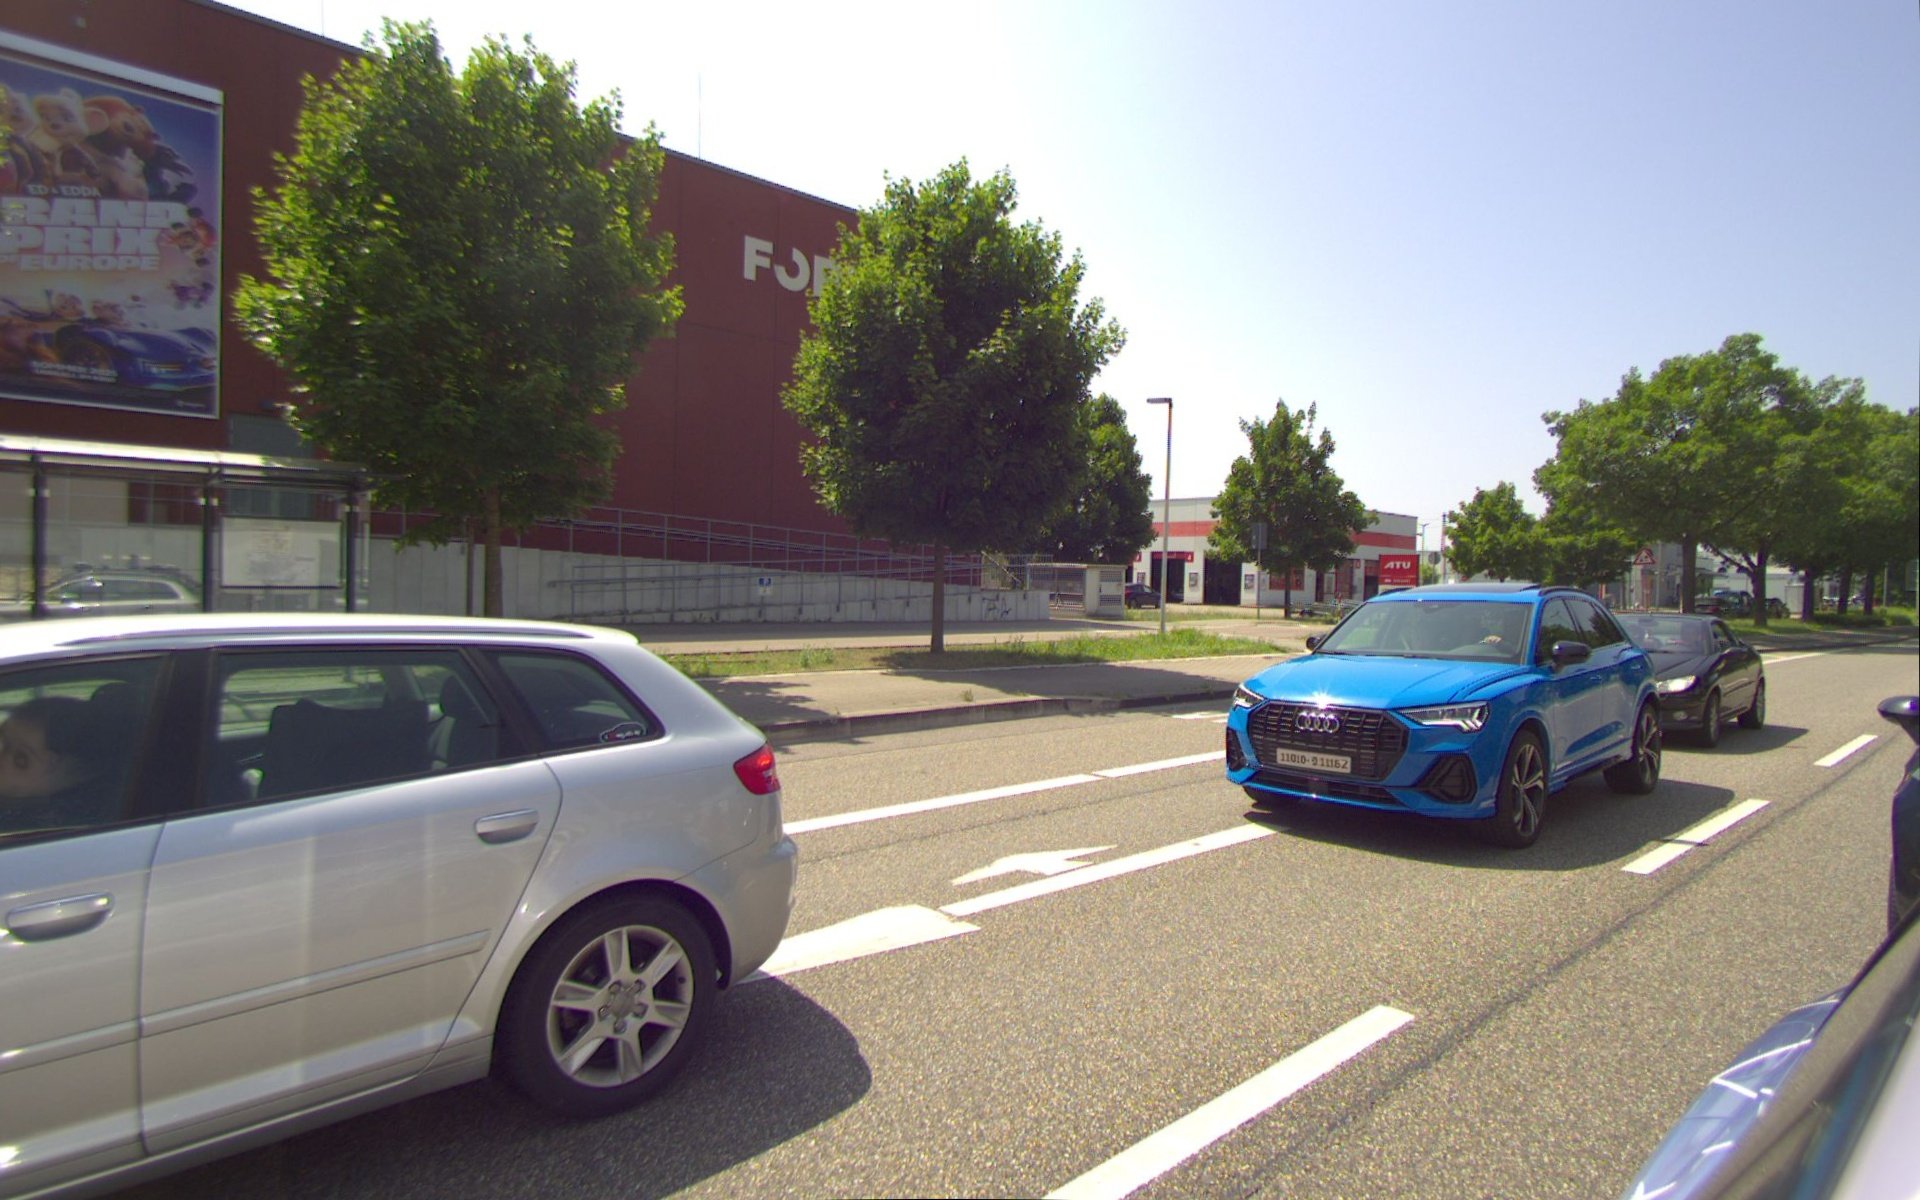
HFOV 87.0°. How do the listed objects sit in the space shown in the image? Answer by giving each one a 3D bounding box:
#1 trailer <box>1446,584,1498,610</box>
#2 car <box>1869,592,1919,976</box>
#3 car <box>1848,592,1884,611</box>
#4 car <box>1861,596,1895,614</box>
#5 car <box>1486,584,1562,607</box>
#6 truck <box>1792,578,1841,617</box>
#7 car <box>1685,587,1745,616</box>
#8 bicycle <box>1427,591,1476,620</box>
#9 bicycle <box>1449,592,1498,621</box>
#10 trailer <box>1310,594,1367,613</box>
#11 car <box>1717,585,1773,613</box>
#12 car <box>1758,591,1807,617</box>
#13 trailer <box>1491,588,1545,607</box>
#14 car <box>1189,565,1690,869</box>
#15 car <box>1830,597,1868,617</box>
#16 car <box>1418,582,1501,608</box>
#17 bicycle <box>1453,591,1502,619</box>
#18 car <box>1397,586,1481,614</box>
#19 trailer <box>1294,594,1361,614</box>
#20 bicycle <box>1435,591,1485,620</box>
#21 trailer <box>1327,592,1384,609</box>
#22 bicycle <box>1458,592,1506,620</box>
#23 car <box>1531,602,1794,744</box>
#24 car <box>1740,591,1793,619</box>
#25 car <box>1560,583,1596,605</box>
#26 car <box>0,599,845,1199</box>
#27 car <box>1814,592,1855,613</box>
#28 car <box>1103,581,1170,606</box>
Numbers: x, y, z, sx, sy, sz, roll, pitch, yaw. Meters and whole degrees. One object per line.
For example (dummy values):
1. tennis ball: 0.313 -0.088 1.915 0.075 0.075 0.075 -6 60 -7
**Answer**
1. trailer: 33.010 -0.213 65.293 1.391 1.546 2.638 0 2 -43
2. car: 5.482 0.713 4.564 3.931 1.421 1.640 0 2 -42
3. car: 75.264 0.148 84.067 3.930 1.485 1.719 0 2 -41
4. car: 79.964 0.442 88.129 3.930 1.485 1.719 0 2 -41
5. car: 36.371 -0.309 65.290 1.662 1.317 3.991 0 2 -44
6. truck: 60.281 -0.174 71.205 3.929 2.599 1.904 0 1 -40
7. car: 38.824 0.084 51.988 3.930 1.388 1.641 0 2 -41
8. bicycle: 20.635 0.237 42.486 1.779 1.138 0.506 3 1 43
9. bicycle: 21.871 0.258 43.115 1.779 1.138 0.506 3 1 43
10. trailer: 17.624 0.149 47.163 1.244 0.771 2.137 0 2 -39
11. car: 43.447 -0.062 56.001 3.930 1.485 1.719 0 2 -41
12. car: 51.662 0.269 63.540 3.930 1.532 1.719 0 2 -41
13. trailer: 34.935 -0.151 63.364 1.552 1.065 2.638 0 2 -43
14. car: 3.754 0.605 7.526 4.324 1.616 1.840 0 1 -42
15. car: 69.659 0.519 79.266 3.930 1.485 1.719 0 2 -41
16. car: 29.125 -0.315 59.075 1.718 1.419 3.991 0 2 -44
17. bicycle: 22.280 0.217 43.605 1.779 1.138 0.506 3 1 43
18. car: 27.333 -0.015 57.792 1.718 1.419 3.992 0 2 -43
19. trailer: 16.544 0.172 45.623 1.423 0.771 2.467 0 2 -39
20. bicycle: 21.149 0.224 42.832 1.779 1.138 0.506 3 1 43
21. trailer: 18.823 0.014 48.211 1.369 0.771 2.137 0 2 -39
22. bicycle: 22.747 0.236 44.145 1.779 1.138 0.506 3 1 43
23. car: 8.179 0.707 11.656 3.931 1.361 1.640 0 -1 -42
24. car: 47.286 0.301 59.323 3.930 1.539 1.719 0 2 -41
25. car: 48.314 -0.496 79.105 1.753 1.616 3.940 2 2 42
26. car: -2.431 0.694 2.642 4.022 1.379 1.714 0 0 -43
27. car: 64.695 0.194 74.855 3.930 1.485 1.719 0 2 -41
28. car: 10.444 -0.374 59.649 4.074 1.390 1.716 0 2 -42
